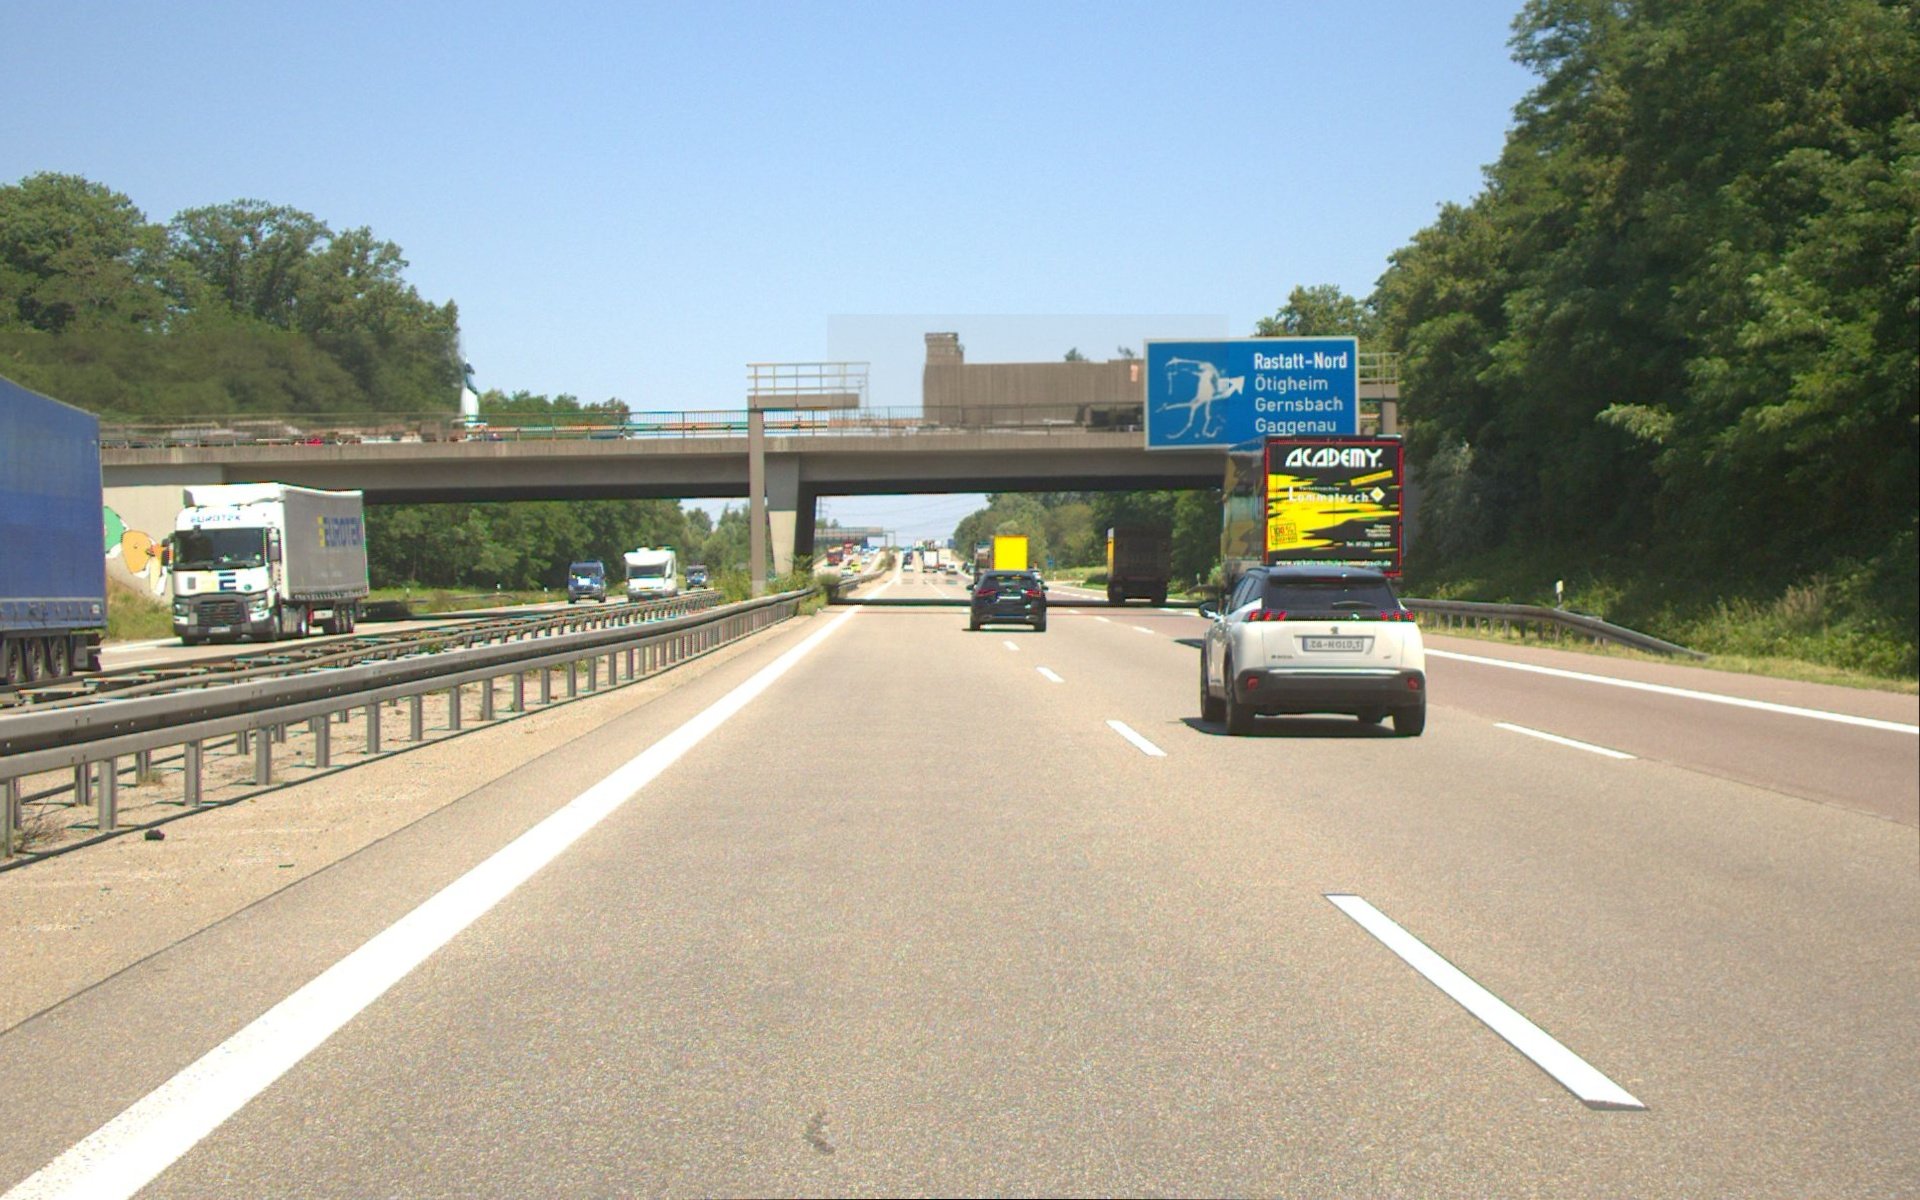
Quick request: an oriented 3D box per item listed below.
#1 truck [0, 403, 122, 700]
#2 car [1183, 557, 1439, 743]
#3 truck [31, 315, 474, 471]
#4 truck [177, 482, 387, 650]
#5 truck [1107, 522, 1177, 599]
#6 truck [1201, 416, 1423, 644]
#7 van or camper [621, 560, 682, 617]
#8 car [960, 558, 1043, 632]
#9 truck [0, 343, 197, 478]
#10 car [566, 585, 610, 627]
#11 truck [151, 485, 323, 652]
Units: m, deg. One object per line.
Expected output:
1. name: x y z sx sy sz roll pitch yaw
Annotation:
1. truck: -14.433 -0.675 46.331 2.986 4.005 13.937 1 0 -1
2. car: 3.208 0.425 32.321 1.827 1.603 4.809 0 0 -1
3. truck: -27.262 -7.964 133.191 16.458 5.547 3.175 1 0 -5
4. truck: -18.807 -0.928 96.388 3.066 4.237 13.961 -3 0 -1
5. truck: 8.254 -1.757 155.097 3.028 3.308 10.769 1 0 4
6. truck: 6.736 -1.292 67.536 2.975 4.023 10.982 2 0 -1
7. van or camper: -16.186 -0.617 180.937 2.592 2.897 7.234 1 0 -1
8. car: 0.963 -0.125 81.689 1.827 1.700 4.000 1 0 -1
9. truck: -41.574 -8.253 148.711 16.457 5.547 3.175 1 0 -8
10. car: -21.474 0.323 198.421 2.089 2.391 5.735 1 0 -2
11. truck: -18.671 -0.795 89.204 2.969 4.048 6.459 -3 0 0
